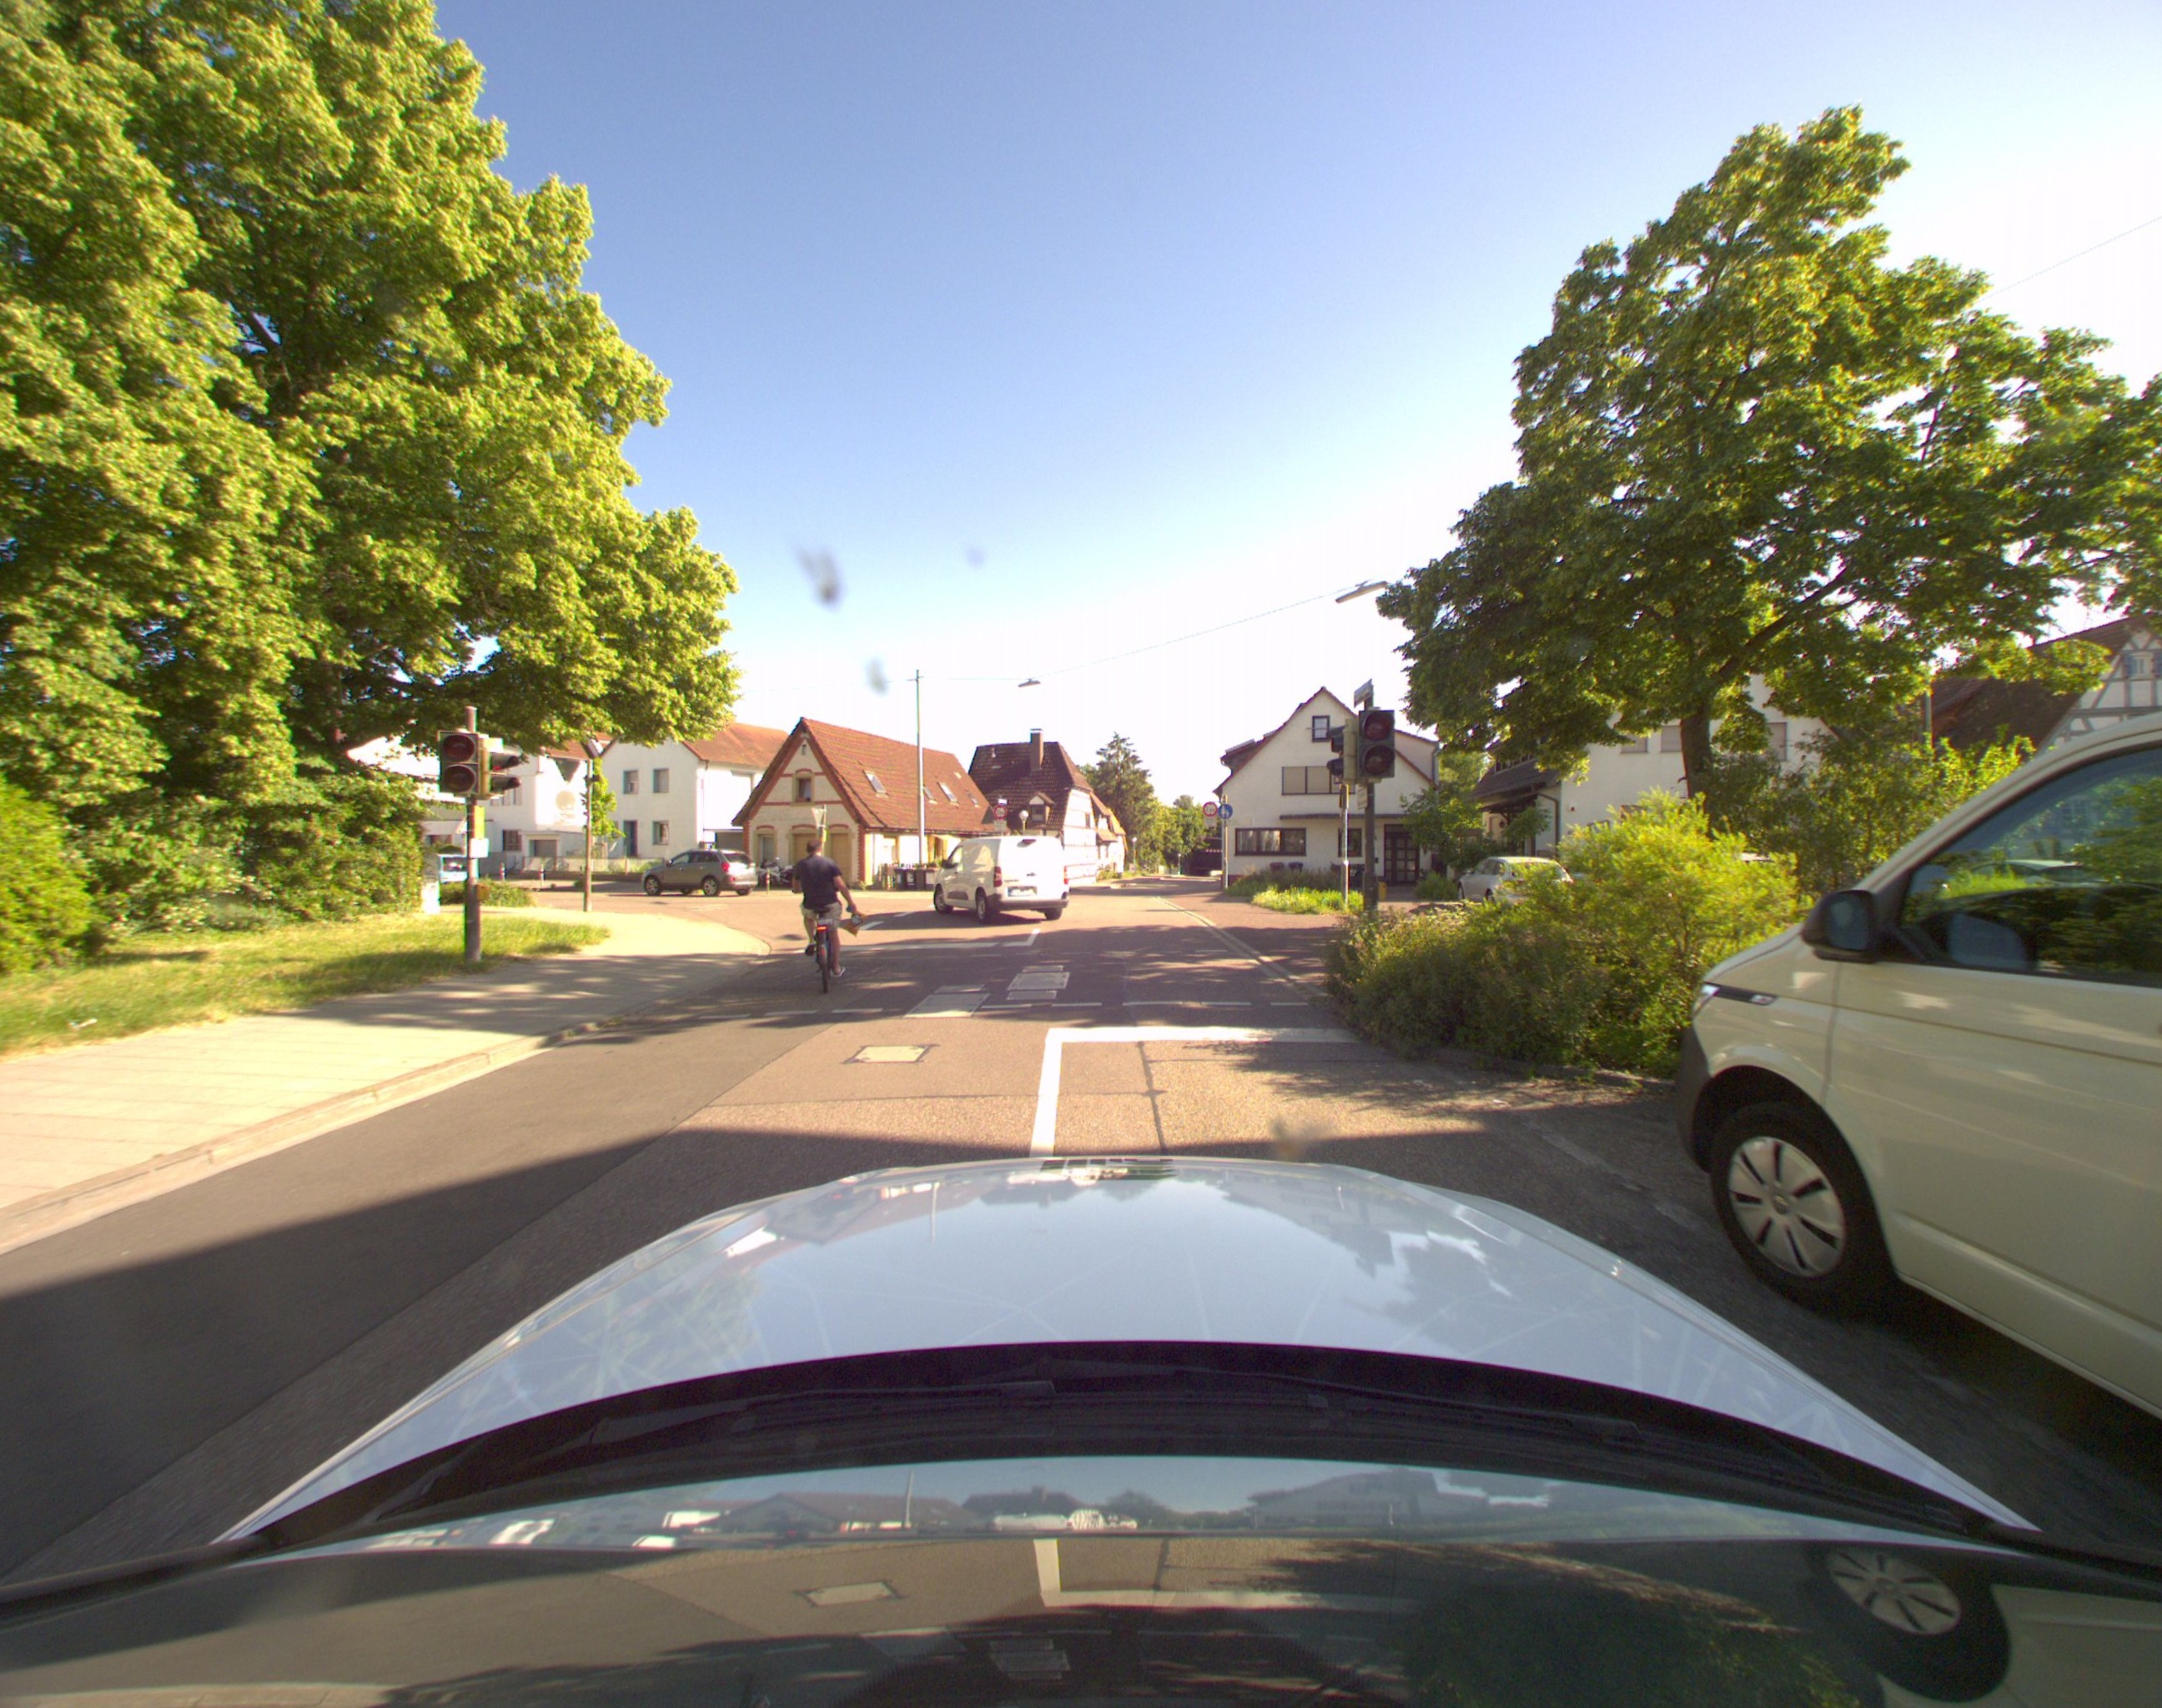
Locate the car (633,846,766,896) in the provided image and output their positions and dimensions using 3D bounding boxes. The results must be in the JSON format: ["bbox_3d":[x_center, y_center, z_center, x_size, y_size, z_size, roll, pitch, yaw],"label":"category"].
[{"bbox_3d":[-14.091,0.606,30.122,4.186,1.725,1.955,1,-1,18],"label":"car"}]

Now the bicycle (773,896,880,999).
[{"bbox_3d":[-3.002,1.057,9.846,0.774,0.940,2.286,-2,0,-6],"label":"bicycle"}]

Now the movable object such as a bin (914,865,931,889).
[{"bbox_3d":[-6.394,0.926,32.876,0.407,0.924,0.628,0,0,19],"label":"movable object such as a bin"}]

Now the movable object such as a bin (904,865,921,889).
[{"bbox_3d":[-6.819,0.932,33.029,0.409,0.906,0.629,0,1,19],"label":"movable object such as a bin"}]

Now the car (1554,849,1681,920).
[{"bbox_3d":[13.843,0.703,21.308,1.694,1.517,4.425,2,2,19],"label":"car"}]

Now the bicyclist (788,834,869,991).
[{"bbox_3d":[-3.011,0.665,9.777,0.763,1.789,0.851,-1,0,-7],"label":"bicyclist"}]

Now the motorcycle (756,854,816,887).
[{"bbox_3d":[-12.211,0.690,33.716,2.223,1.295,0.887,0,3,20],"label":"motorcycle"}]

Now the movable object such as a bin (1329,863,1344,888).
[{"bbox_3d":[10.436,0.871,33.311,0.526,0.983,0.671,0,0,11],"label":"movable object such as a bin"}]

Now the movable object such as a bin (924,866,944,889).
[{"bbox_3d":[-5.904,0.933,32.710,0.551,0.924,0.628,0,0,19],"label":"movable object such as a bin"}]

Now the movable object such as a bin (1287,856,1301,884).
[{"bbox_3d":[8.771,0.652,33.560,0.523,1.123,0.750,0,0,11],"label":"movable object such as a bin"}]

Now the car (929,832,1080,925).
[{"bbox_3d":[-1.907,0.448,18.702,1.967,1.848,4.521,-1,1,-26],"label":"car"}]

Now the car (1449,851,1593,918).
[{"bbox_3d":[11.308,0.700,21.337,1.981,1.421,4.818,1,2,11],"label":"car"}]

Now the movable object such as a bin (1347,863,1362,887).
[{"bbox_3d":[11.144,0.855,33.205,0.495,0.976,0.596,0,0,11],"label":"movable object such as a bin"}]

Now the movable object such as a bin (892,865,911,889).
[{"bbox_3d":[-7.306,0.927,33.213,0.503,0.924,0.628,0,0,19],"label":"movable object such as a bin"}]

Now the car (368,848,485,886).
[{"bbox_3d":[-28.329,0.535,35.288,4.186,1.549,1.955,1,0,18],"label":"car"}]

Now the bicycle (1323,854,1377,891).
[{"bbox_3d":[9.474,0.653,28.773,1.726,1.284,0.702,1,-1,9],"label":"bicycle"}]

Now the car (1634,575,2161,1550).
[{"bbox_3d":[3.269,0.447,1.257,1.985,2.079,4.583,1,0,4],"label":"car"}]
